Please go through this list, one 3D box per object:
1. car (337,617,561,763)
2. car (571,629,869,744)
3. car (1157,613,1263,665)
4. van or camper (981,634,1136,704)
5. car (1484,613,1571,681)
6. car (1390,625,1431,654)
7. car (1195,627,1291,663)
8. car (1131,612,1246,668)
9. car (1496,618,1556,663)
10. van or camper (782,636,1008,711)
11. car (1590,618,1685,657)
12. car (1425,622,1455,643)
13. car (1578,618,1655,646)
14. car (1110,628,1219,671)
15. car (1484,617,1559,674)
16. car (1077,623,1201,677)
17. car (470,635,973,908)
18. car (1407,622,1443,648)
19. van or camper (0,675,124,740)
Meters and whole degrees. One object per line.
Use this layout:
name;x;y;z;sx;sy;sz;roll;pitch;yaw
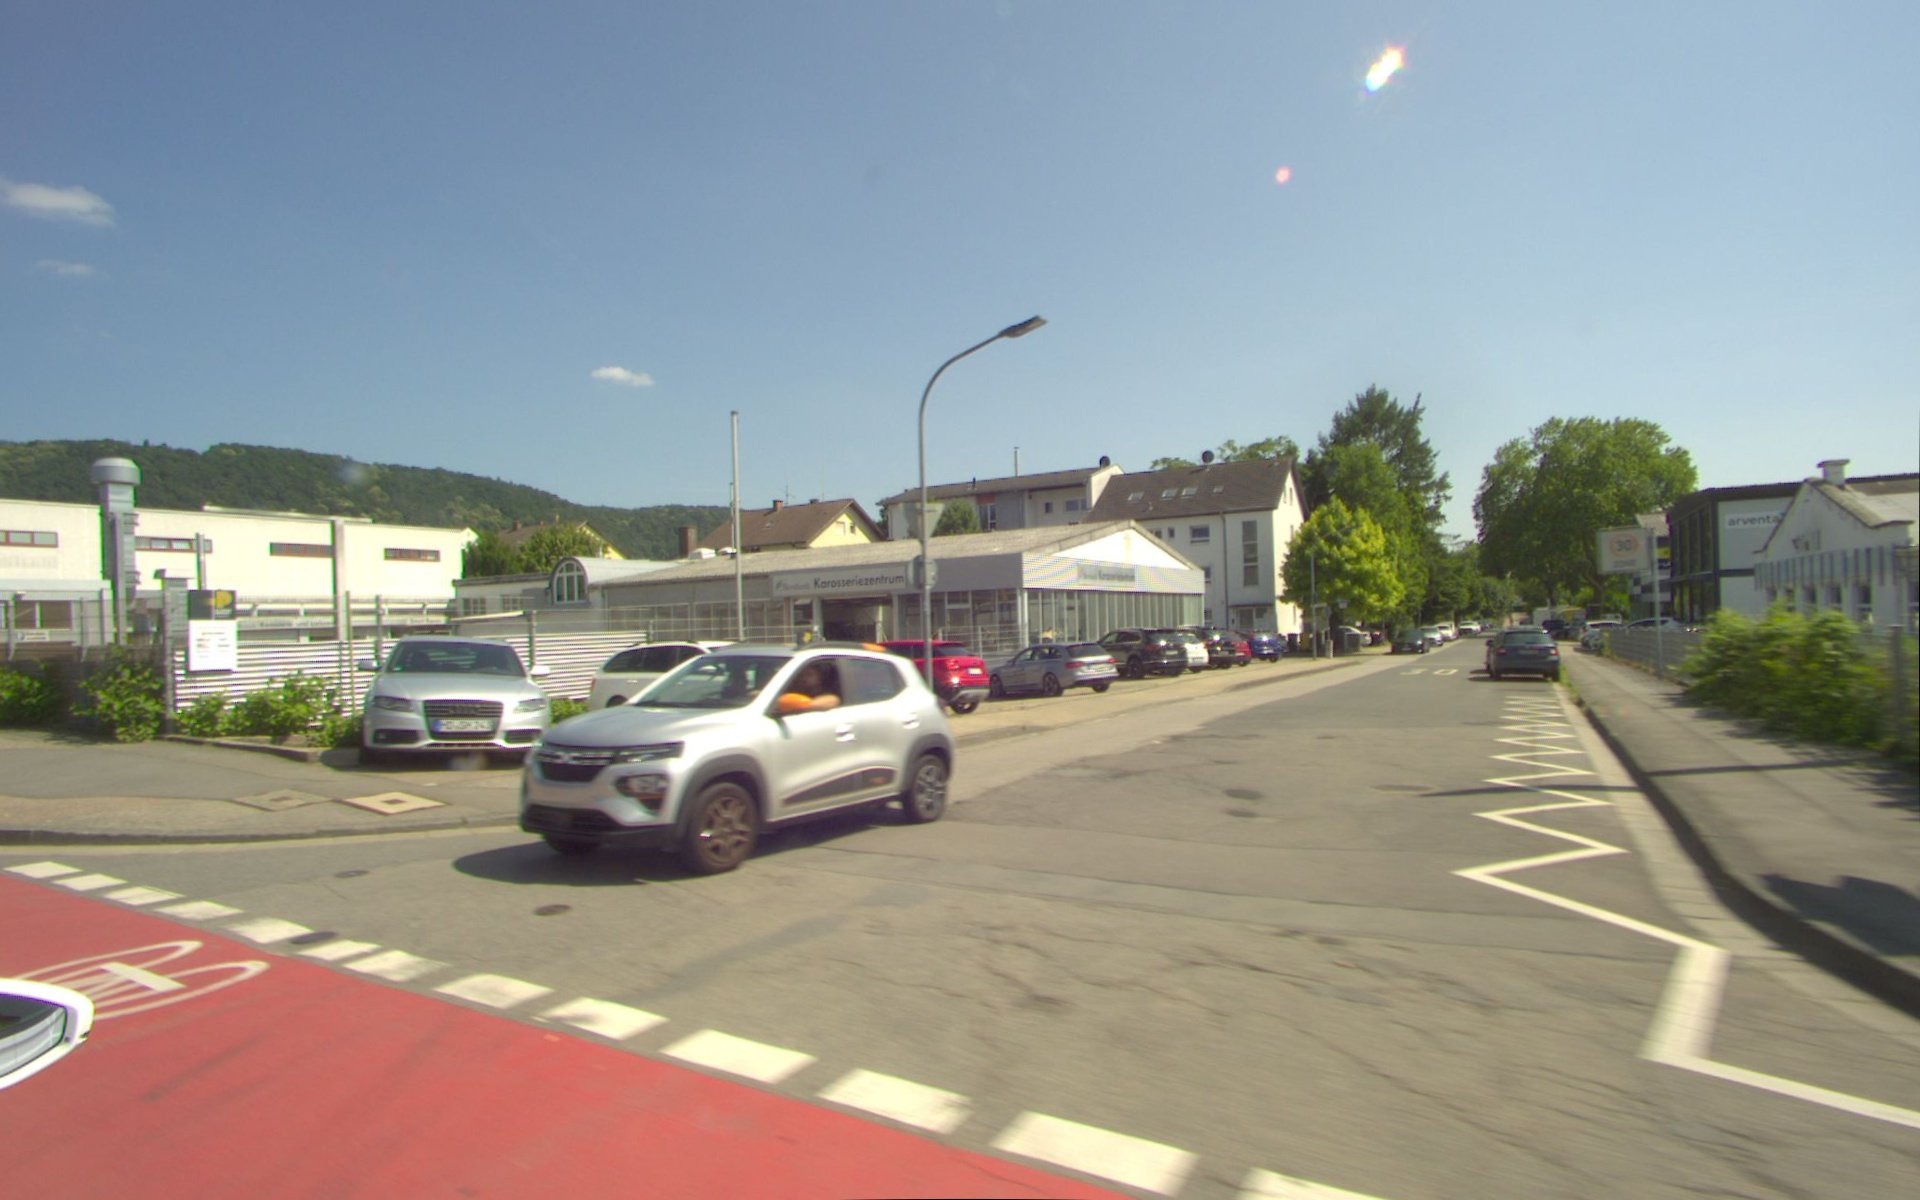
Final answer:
car;-6.115;1.054;11.868;1.931;1.374;4.478;3;-6;-30
car;-3.765;1.251;15.526;4.439;1.524;1.845;-1;-1;30
car;10.428;1.689;42.005;1.976;2.038;3.974;2;-4;-36
van or camper;2.633;1.868;27.604;1.972;1.563;4.206;-6;0;-33
car;16.538;1.313;29.363;1.968;1.817;3.985;-1;0;26
car;26.296;2.266;58.387;1.969;1.572;3.984;-1;0;28
car;12.671;2.044;45.017;1.729;1.504;3.974;2;-4;-36
car;8.720;1.587;38.492;1.976;2.038;3.974;2;-4;-36
car;24.129;1.707;42.790;1.968;1.794;3.987;-1;-2;26
van or camper;-1.335;1.503;20.398;4.165;1.366;1.995;-1;-7;29
car;34.383;1.887;50.894;3.945;1.929;1.753;-1;0;34
car;39.831;2.679;83.044;1.970;1.606;3.982;-1;0;30
car;41.150;1.996;62.871;3.943;1.671;1.754;-1;0;32
car;7.359;1.809;36.354;1.769;1.482;3.807;1;-4;-31
car;18.891;1.515;33.846;1.968;1.816;3.987;-1;-2;26
car;5.902;1.615;33.418;1.972;1.668;3.979;1;-1;-30
car;-1.545;1.041;7.676;1.702;1.503;3.660;-1;-2;31
car;33.103;2.480;71.212;1.970;1.706;3.982;-1;0;30
van or camper;-27.656;3.155;29.447;1.988;1.672;4.313;-2;-2;25
